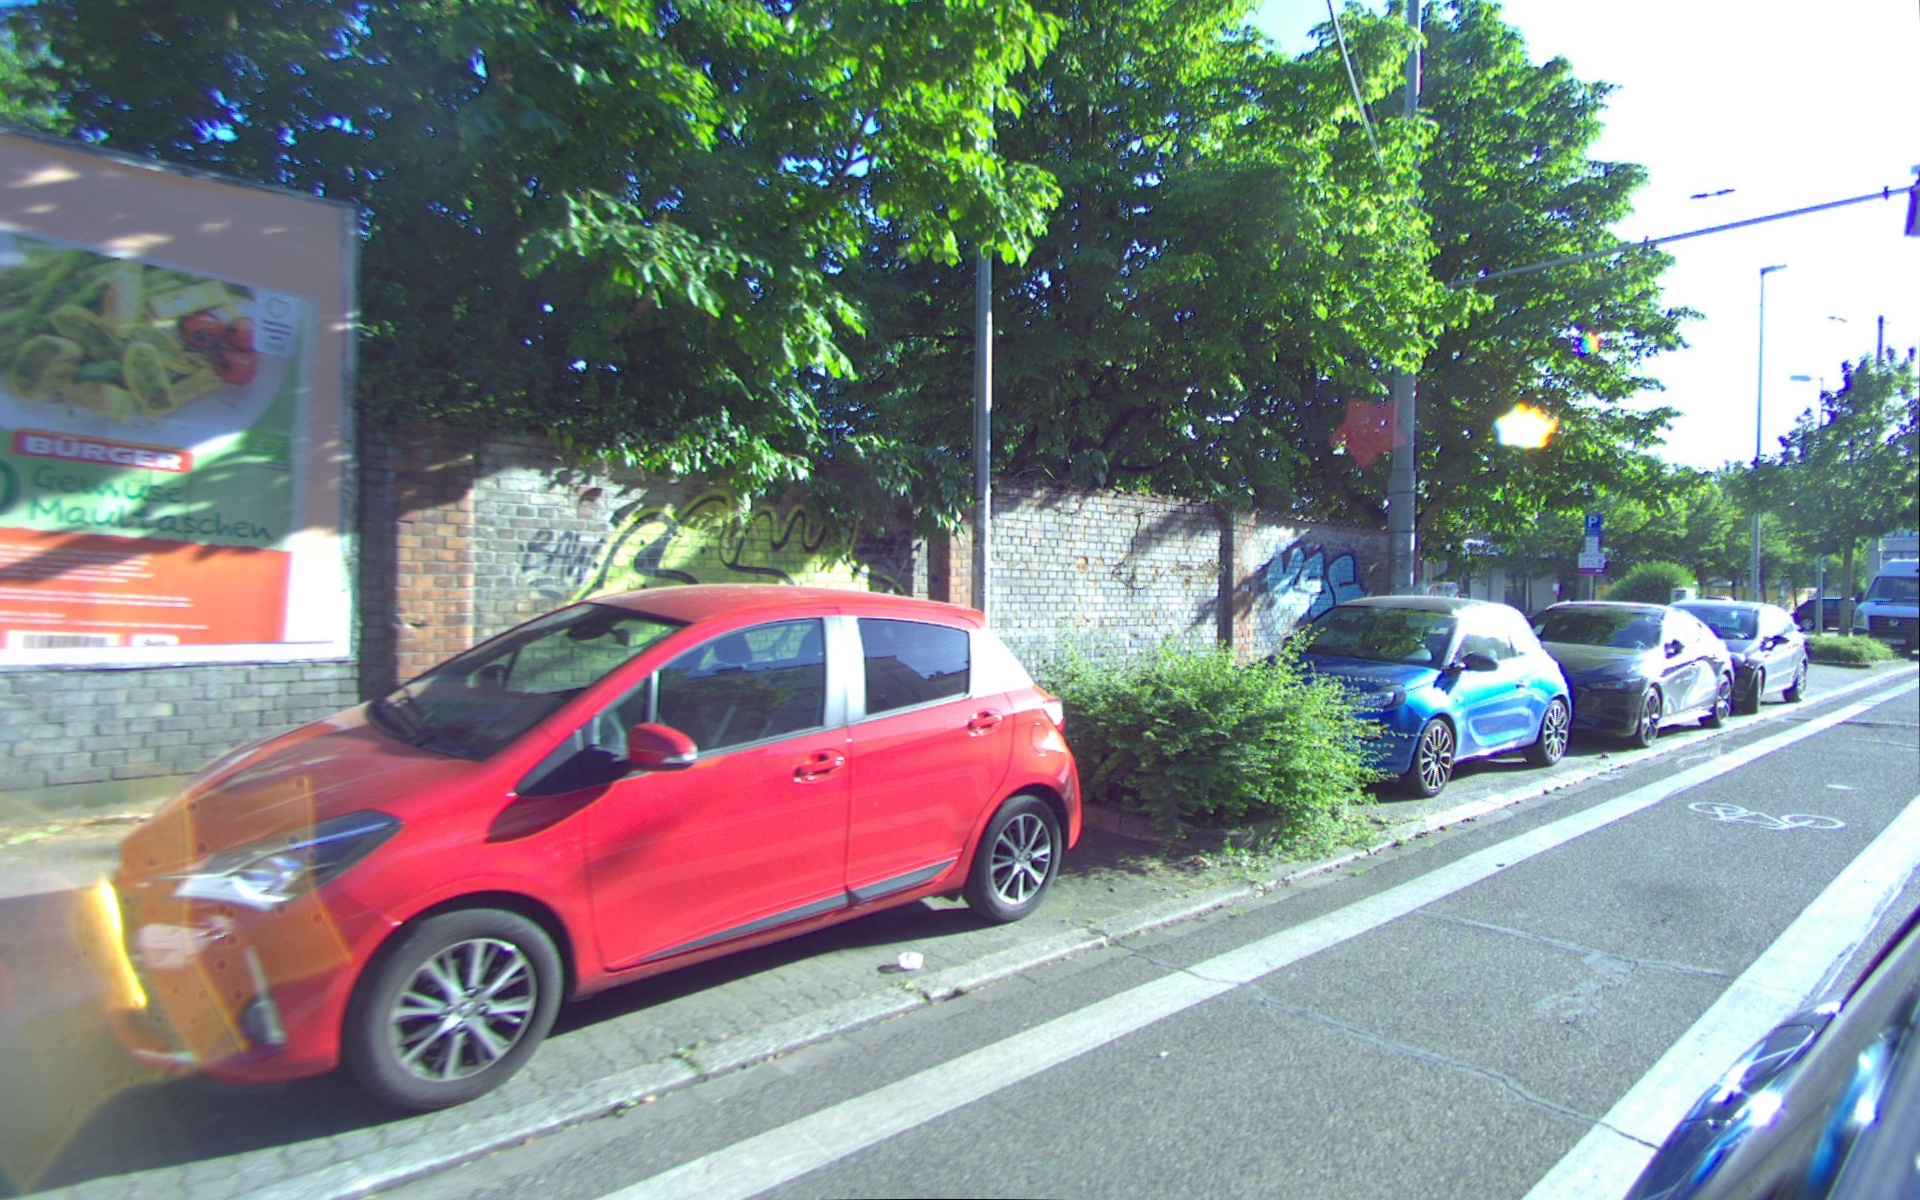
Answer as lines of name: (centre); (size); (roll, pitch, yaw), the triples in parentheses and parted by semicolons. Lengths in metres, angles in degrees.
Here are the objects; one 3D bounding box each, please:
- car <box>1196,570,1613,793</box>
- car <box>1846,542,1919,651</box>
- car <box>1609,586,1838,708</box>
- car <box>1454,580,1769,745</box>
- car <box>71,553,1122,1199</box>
car: (4.057, 0.548, 8.998); (3.926, 1.549, 1.694); (0, 2, -38)
car: (26.217, -0.112, 26.996); (5.971, 2.698, 2.189); (0, 3, -32)
car: (11.399, 0.593, 15.032); (3.926, 1.549, 1.694); (0, 2, -38)
car: (7.629, 0.581, 11.701); (4.275, 1.549, 1.694); (0, 2, -38)
car: (-1.199, 0.620, 4.366); (3.933, 1.549, 1.691); (-1, 2, -43)
